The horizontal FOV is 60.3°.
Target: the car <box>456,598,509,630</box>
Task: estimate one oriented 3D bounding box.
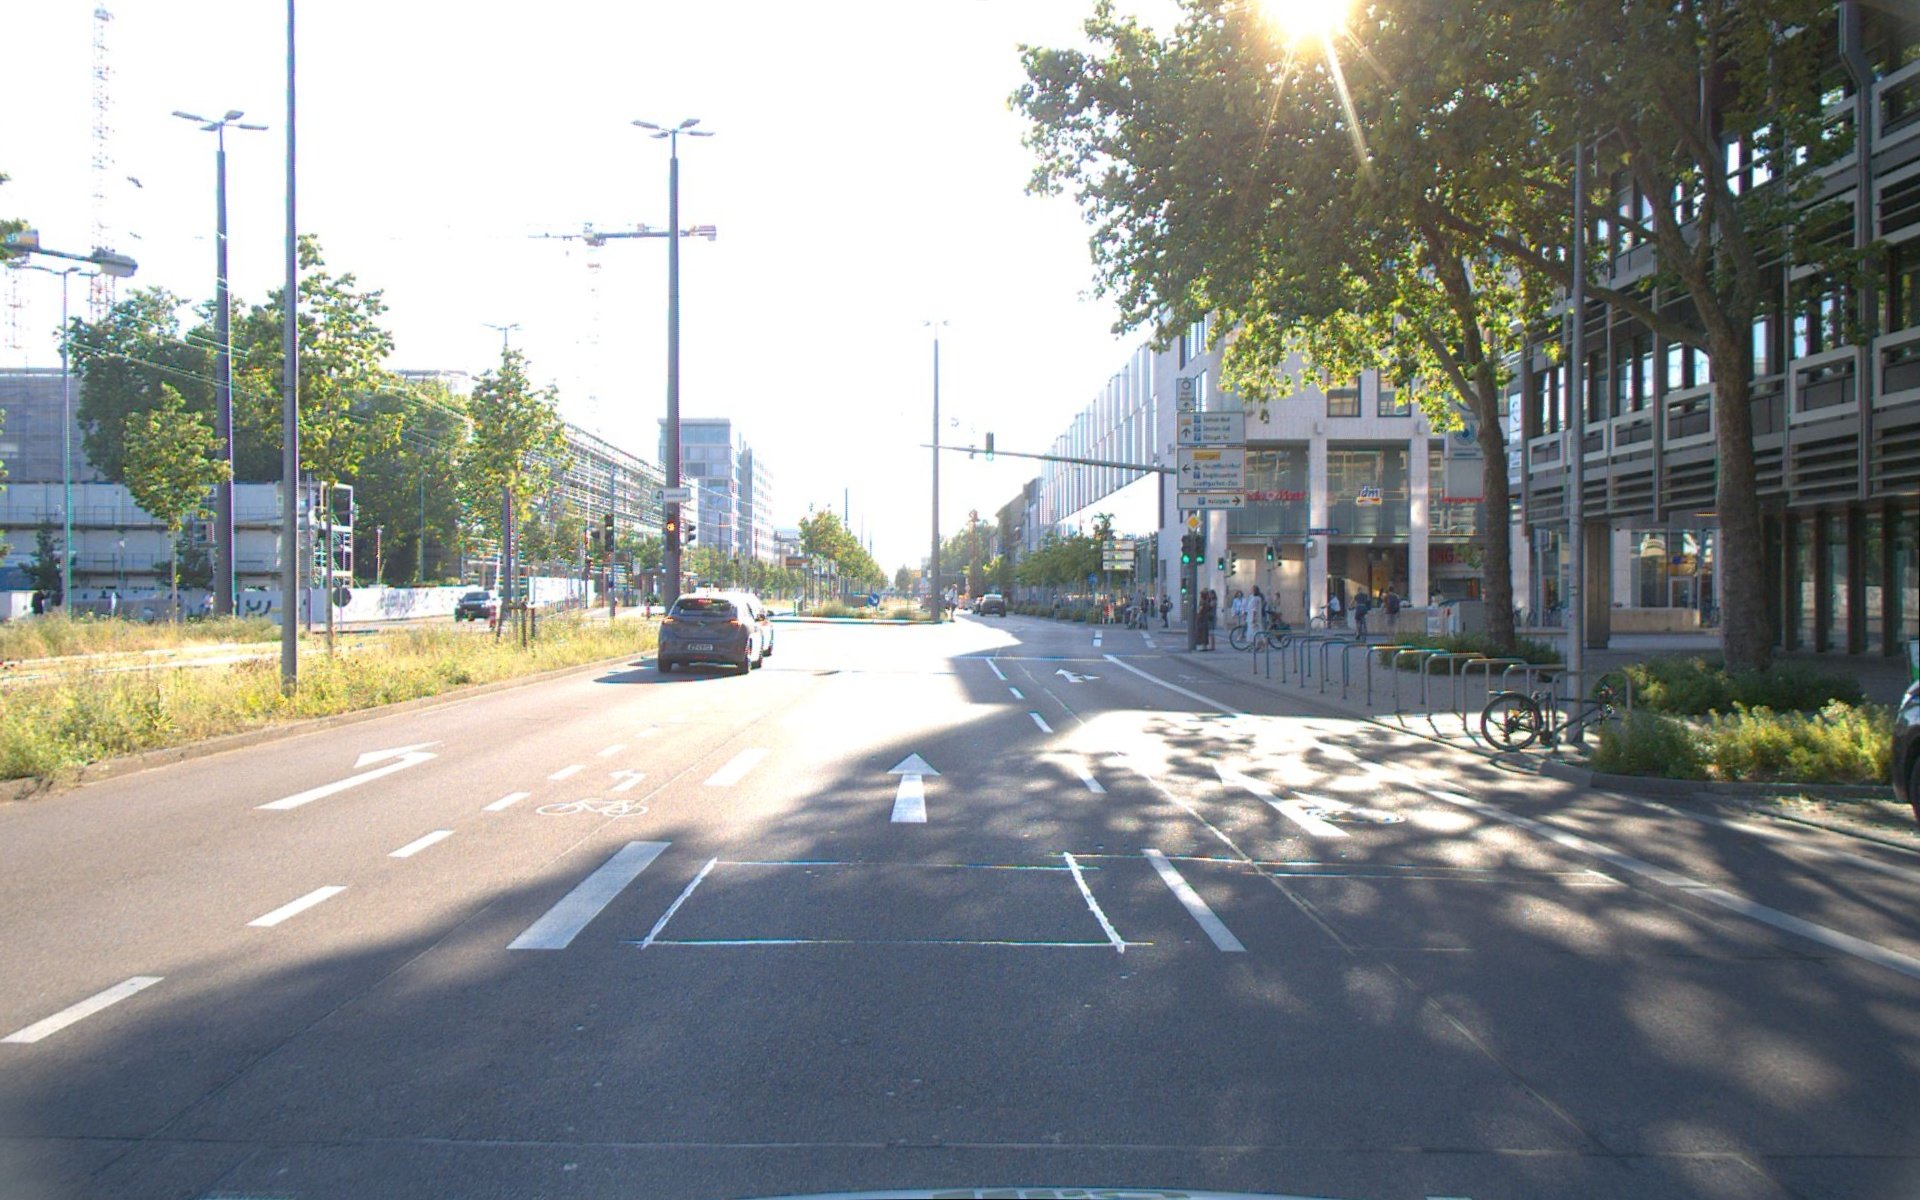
[{"bbox_3d":[-27.299,0.787,94.597,1.953,1.807,3.999,0,0,-2],"label":"car"}]

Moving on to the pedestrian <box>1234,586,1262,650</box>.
[{"bbox_3d":[7.918,0.488,45.438,0.621,1.732,0.570,-2,0,-1],"label":"pedestrian"}]

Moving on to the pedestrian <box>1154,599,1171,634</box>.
[{"bbox_3d":[10.406,0.844,85.071,0.800,1.765,0.790,0,0,2],"label":"pedestrian"}]

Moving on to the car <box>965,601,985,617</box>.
[{"bbox_3d":[1.457,0.878,159.316,1.669,1.453,3.923,0,0,-3],"label":"car"}]

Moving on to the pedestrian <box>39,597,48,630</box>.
[{"bbox_3d":[-40.754,0.604,73.571,0.268,1.490,0.279,0,0,-10],"label":"pedestrian"}]

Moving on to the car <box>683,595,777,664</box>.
[{"bbox_3d":[-5.132,0.624,37.327,1.669,1.453,3.924,1,0,-2],"label":"car"}]

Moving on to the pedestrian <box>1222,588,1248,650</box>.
[{"bbox_3d":[9.435,0.635,56.793,0.750,2.096,0.797,-2,0,5],"label":"pedestrian"}]

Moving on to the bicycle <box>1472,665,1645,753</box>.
[{"bbox_3d":[6.495,1.179,18.003,1.656,0.882,0.573,-2,0,7],"label":"bicycle"}]

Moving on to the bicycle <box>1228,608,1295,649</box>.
[{"bbox_3d":[8.480,0.797,46.528,1.767,1.105,0.479,-1,0,0],"label":"bicycle"}]

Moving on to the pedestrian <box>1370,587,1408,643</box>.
[{"bbox_3d":[13.493,0.474,52.037,0.890,1.733,1.113,0,0,0],"label":"pedestrian"}]

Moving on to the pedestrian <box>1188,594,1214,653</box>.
[{"bbox_3d":[6.852,0.658,47.021,0.621,1.636,0.570,-2,0,-1],"label":"pedestrian"}]

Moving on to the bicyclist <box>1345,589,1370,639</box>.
[{"bbox_3d":[12.227,0.424,50.873,0.566,1.549,0.749,0,0,-1],"label":"bicyclist"}]

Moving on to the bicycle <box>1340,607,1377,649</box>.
[{"bbox_3d":[12.230,0.849,50.795,0.580,1.253,2.153,0,0,-1],"label":"bicycle"}]

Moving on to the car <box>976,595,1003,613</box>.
[{"bbox_3d":[2.410,0.308,134.688,1.901,1.453,3.923,0,0,-3],"label":"car"}]

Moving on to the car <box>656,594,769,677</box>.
[{"bbox_3d":[-4.680,0.634,31.726,1.741,1.453,3.998,1,0,-3],"label":"car"}]

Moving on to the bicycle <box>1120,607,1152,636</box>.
[{"bbox_3d":[7.749,0.935,72.718,0.783,1.225,2.263,0,0,22],"label":"bicycle"}]

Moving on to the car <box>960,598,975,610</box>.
[{"bbox_3d":[0.917,0.486,213.247,1.669,1.453,3.923,0,0,-3],"label":"car"}]

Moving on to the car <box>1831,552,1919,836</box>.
[{"bbox_3d":[7.681,0.636,10.080,1.792,2.005,5.320,-2,0,-1],"label":"car"}]

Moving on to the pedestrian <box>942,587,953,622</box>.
[{"bbox_3d":[-0.620,0.215,83.738,0.483,1.774,0.446,0,0,-11],"label":"pedestrian"}]

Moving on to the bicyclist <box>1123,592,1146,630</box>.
[{"bbox_3d":[7.653,0.466,72.495,0.784,1.630,0.785,0,0,22],"label":"bicyclist"}]

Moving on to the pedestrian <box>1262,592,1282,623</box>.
[{"bbox_3d":[16.463,0.410,87.321,0.852,1.613,0.824,-2,0,2],"label":"pedestrian"}]

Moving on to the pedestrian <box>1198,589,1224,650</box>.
[{"bbox_3d":[7.212,0.564,47.529,0.621,1.732,0.570,-2,0,-1],"label":"pedestrian"}]

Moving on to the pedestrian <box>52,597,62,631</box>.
[{"bbox_3d":[-40.144,0.623,73.527,0.268,1.490,0.316,0,0,-9],"label":"pedestrian"}]

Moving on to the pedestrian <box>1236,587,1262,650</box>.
[{"bbox_3d":[9.749,0.625,55.797,0.750,2.096,0.797,-2,0,5],"label":"pedestrian"}]
